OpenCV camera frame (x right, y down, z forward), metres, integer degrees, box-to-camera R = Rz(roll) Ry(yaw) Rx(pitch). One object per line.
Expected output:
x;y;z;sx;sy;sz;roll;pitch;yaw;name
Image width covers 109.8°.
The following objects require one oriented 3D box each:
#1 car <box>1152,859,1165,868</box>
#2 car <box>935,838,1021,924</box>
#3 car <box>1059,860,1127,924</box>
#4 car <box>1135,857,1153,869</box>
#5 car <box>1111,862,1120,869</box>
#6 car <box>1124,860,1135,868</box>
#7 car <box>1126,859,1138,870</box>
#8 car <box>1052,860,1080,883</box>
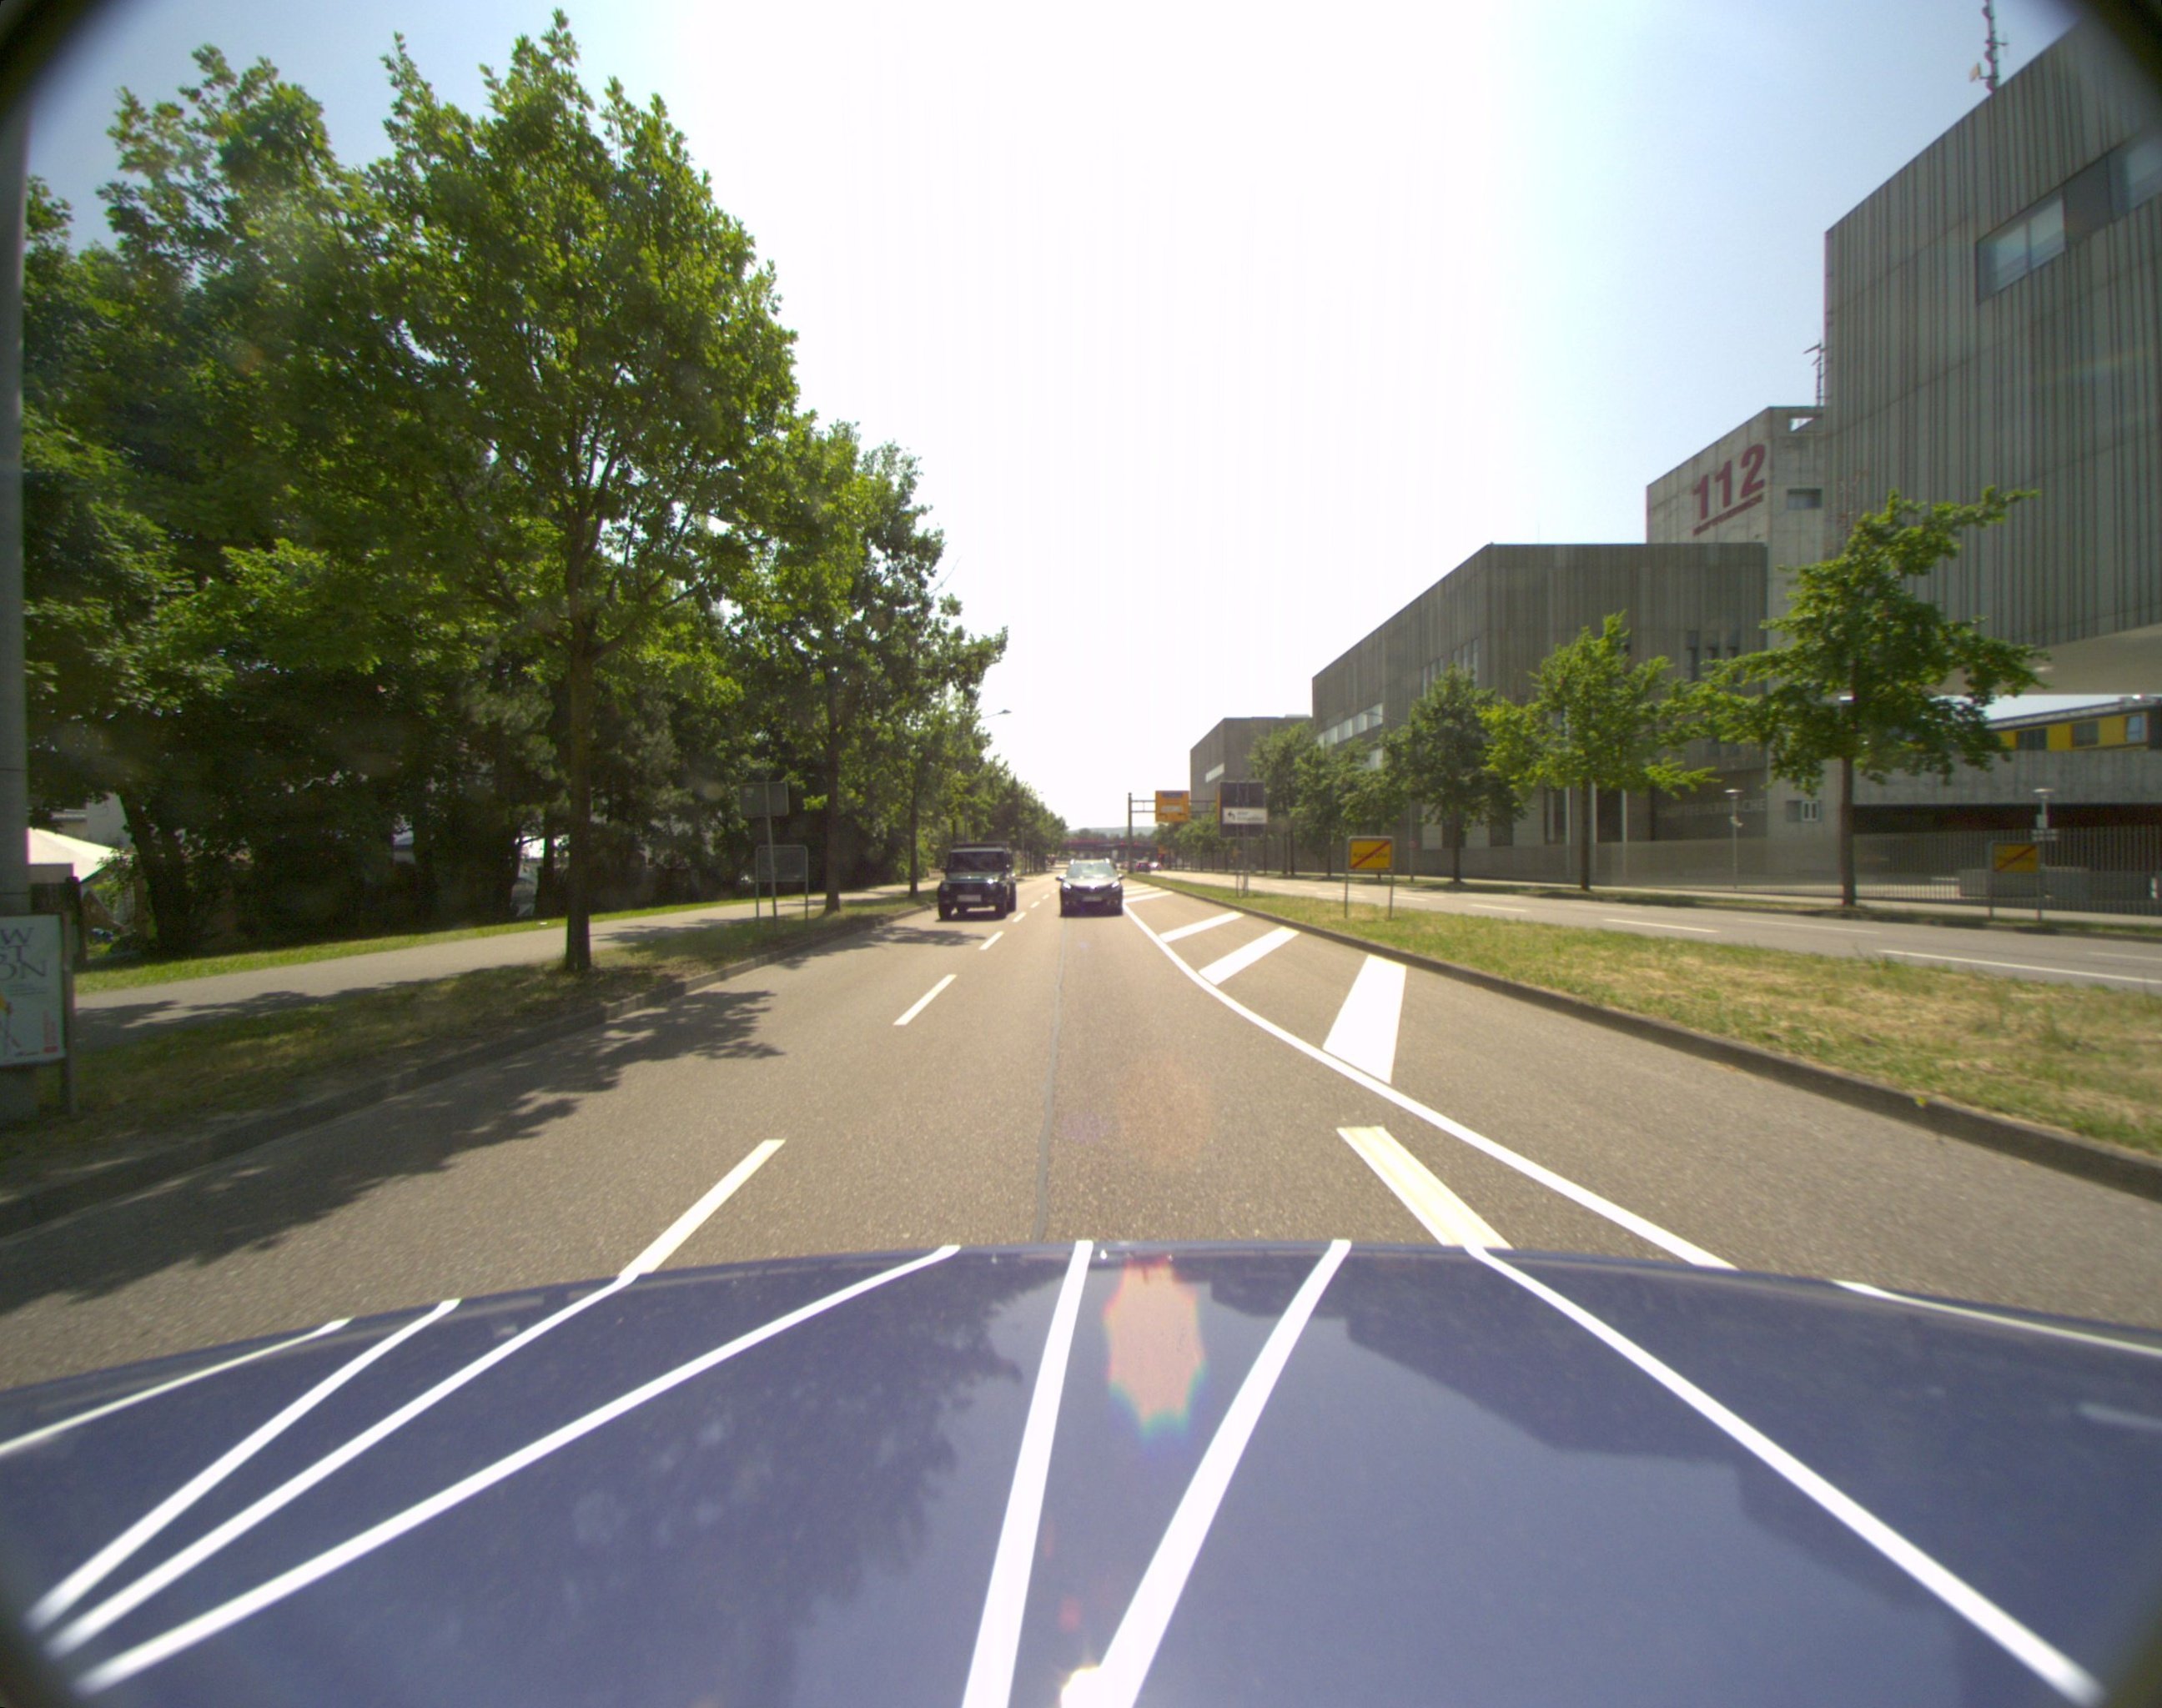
13.197;1.594;129.573;1.815;1.419;4.359;1;0;0;car
-2.801;0.685;21.587;1.841;2.141;4.557;-1;0;-1;car
0.378;0.967;20.871;1.619;1.502;4.459;-3;-1;2;car
7.658;1.108;92.564;1.712;1.463;3.940;1;0;-2;car
7.114;2.326;157.011;1.815;1.457;4.057;1;0;0;car
9.402;1.876;148.012;1.770;1.452;4.145;1;0;-1;car
9.488;1.950;141.164;1.914;1.981;4.898;1;0;0;car
-1.009;1.142;51.562;1.817;1.455;4.000;-1;0;0;car
